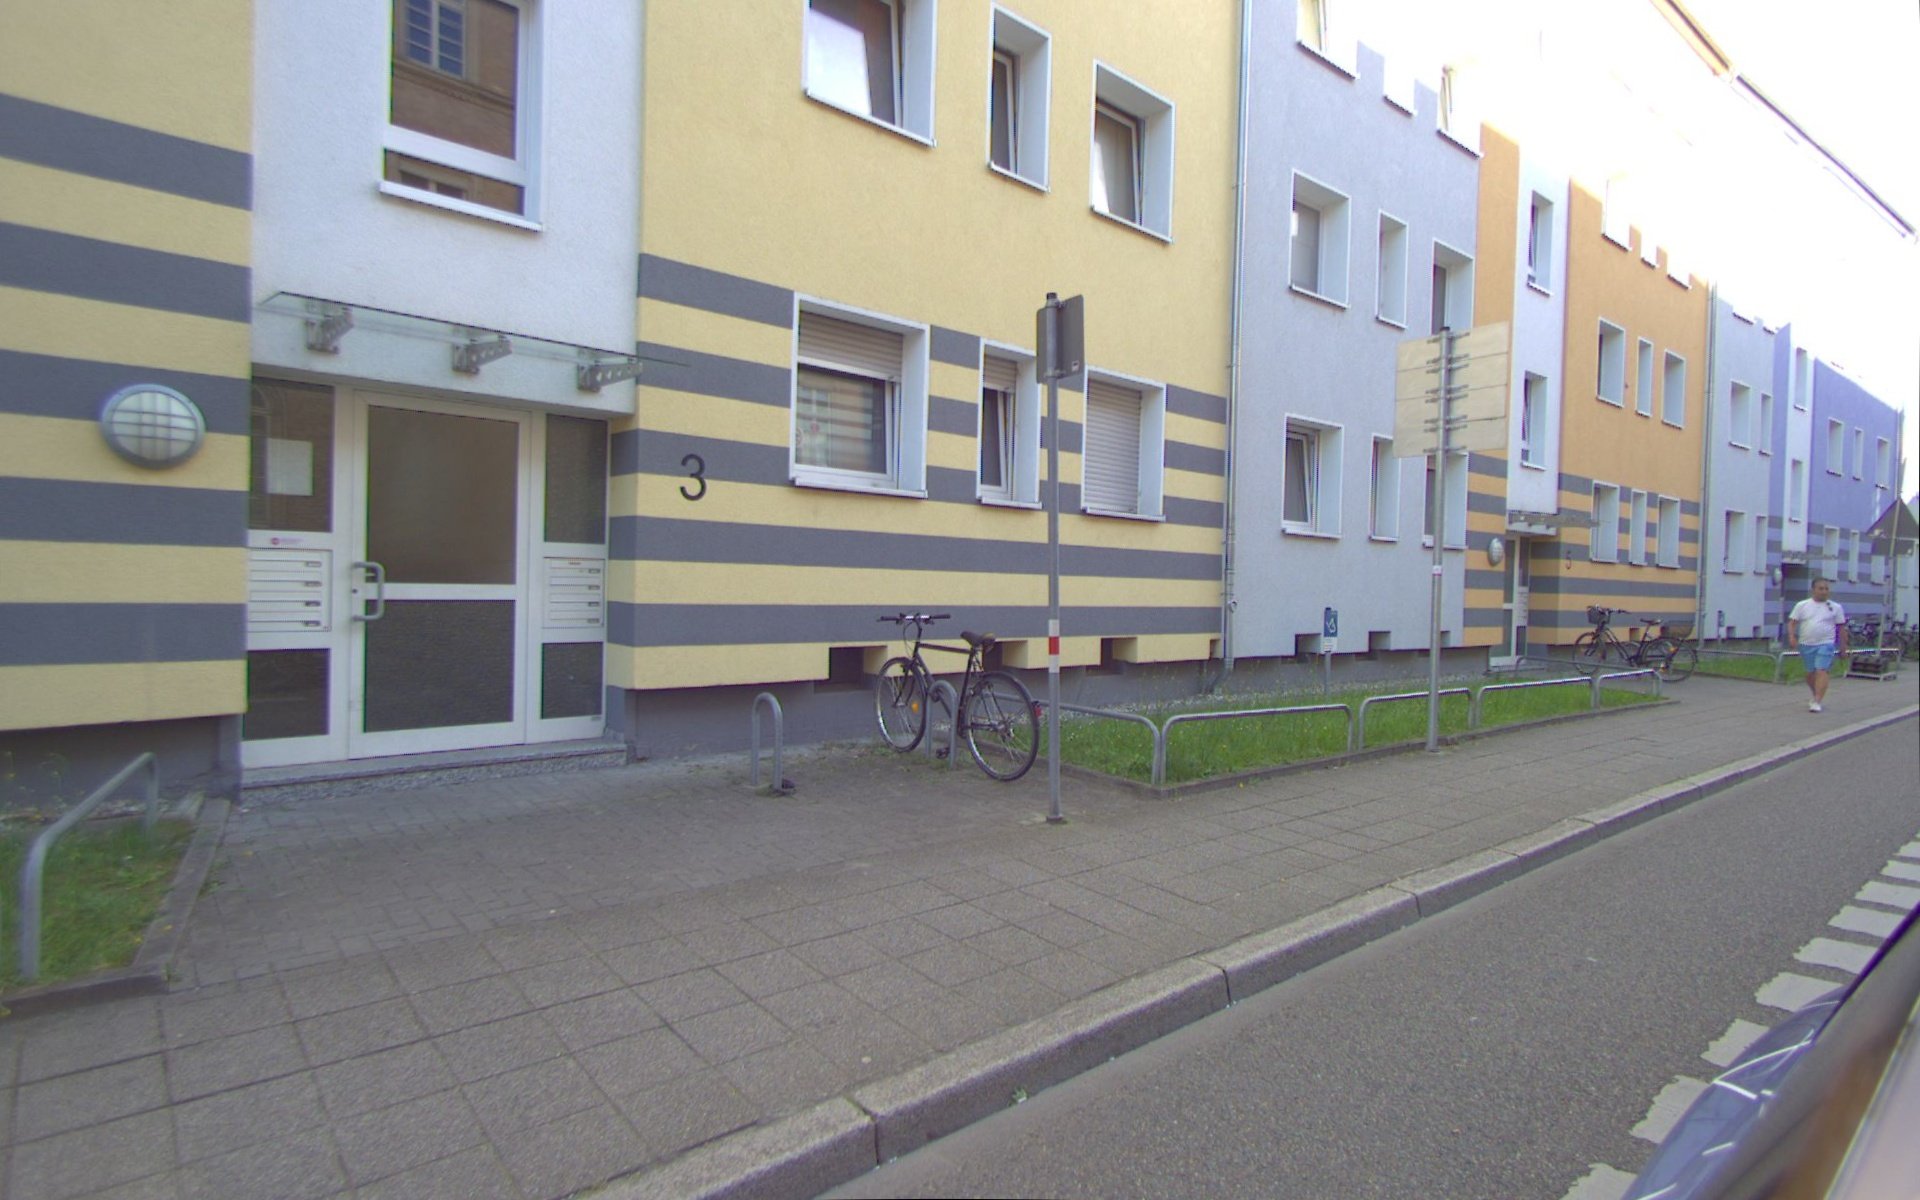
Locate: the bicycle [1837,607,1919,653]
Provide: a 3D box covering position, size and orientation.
[{"bbox_3d":[23.366,0.740,25.491,0.572,1.007,1.779,1,3,-33],"label":"bicycle"}]

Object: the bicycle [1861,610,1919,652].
[{"bbox_3d":[24.069,0.795,25.598,0.572,0.950,1.779,1,3,-33],"label":"bicycle"}]

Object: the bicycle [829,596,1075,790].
[{"bbox_3d":[-0.108,0.561,6.940,1.773,1.061,0.574,5,4,45],"label":"bicycle"}]

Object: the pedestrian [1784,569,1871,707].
[{"bbox_3d":[11.192,0.466,13.059,0.819,1.692,0.644,1,2,-39],"label":"pedestrian"}]

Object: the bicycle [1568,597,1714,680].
[{"bbox_3d":[10.705,0.573,15.963,0.574,1.138,1.775,0,4,-42],"label":"bicycle"}]

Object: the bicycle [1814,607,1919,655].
[{"bbox_3d":[22.203,0.736,24.821,0.572,1.007,1.779,1,3,-33],"label":"bicycle"}]
